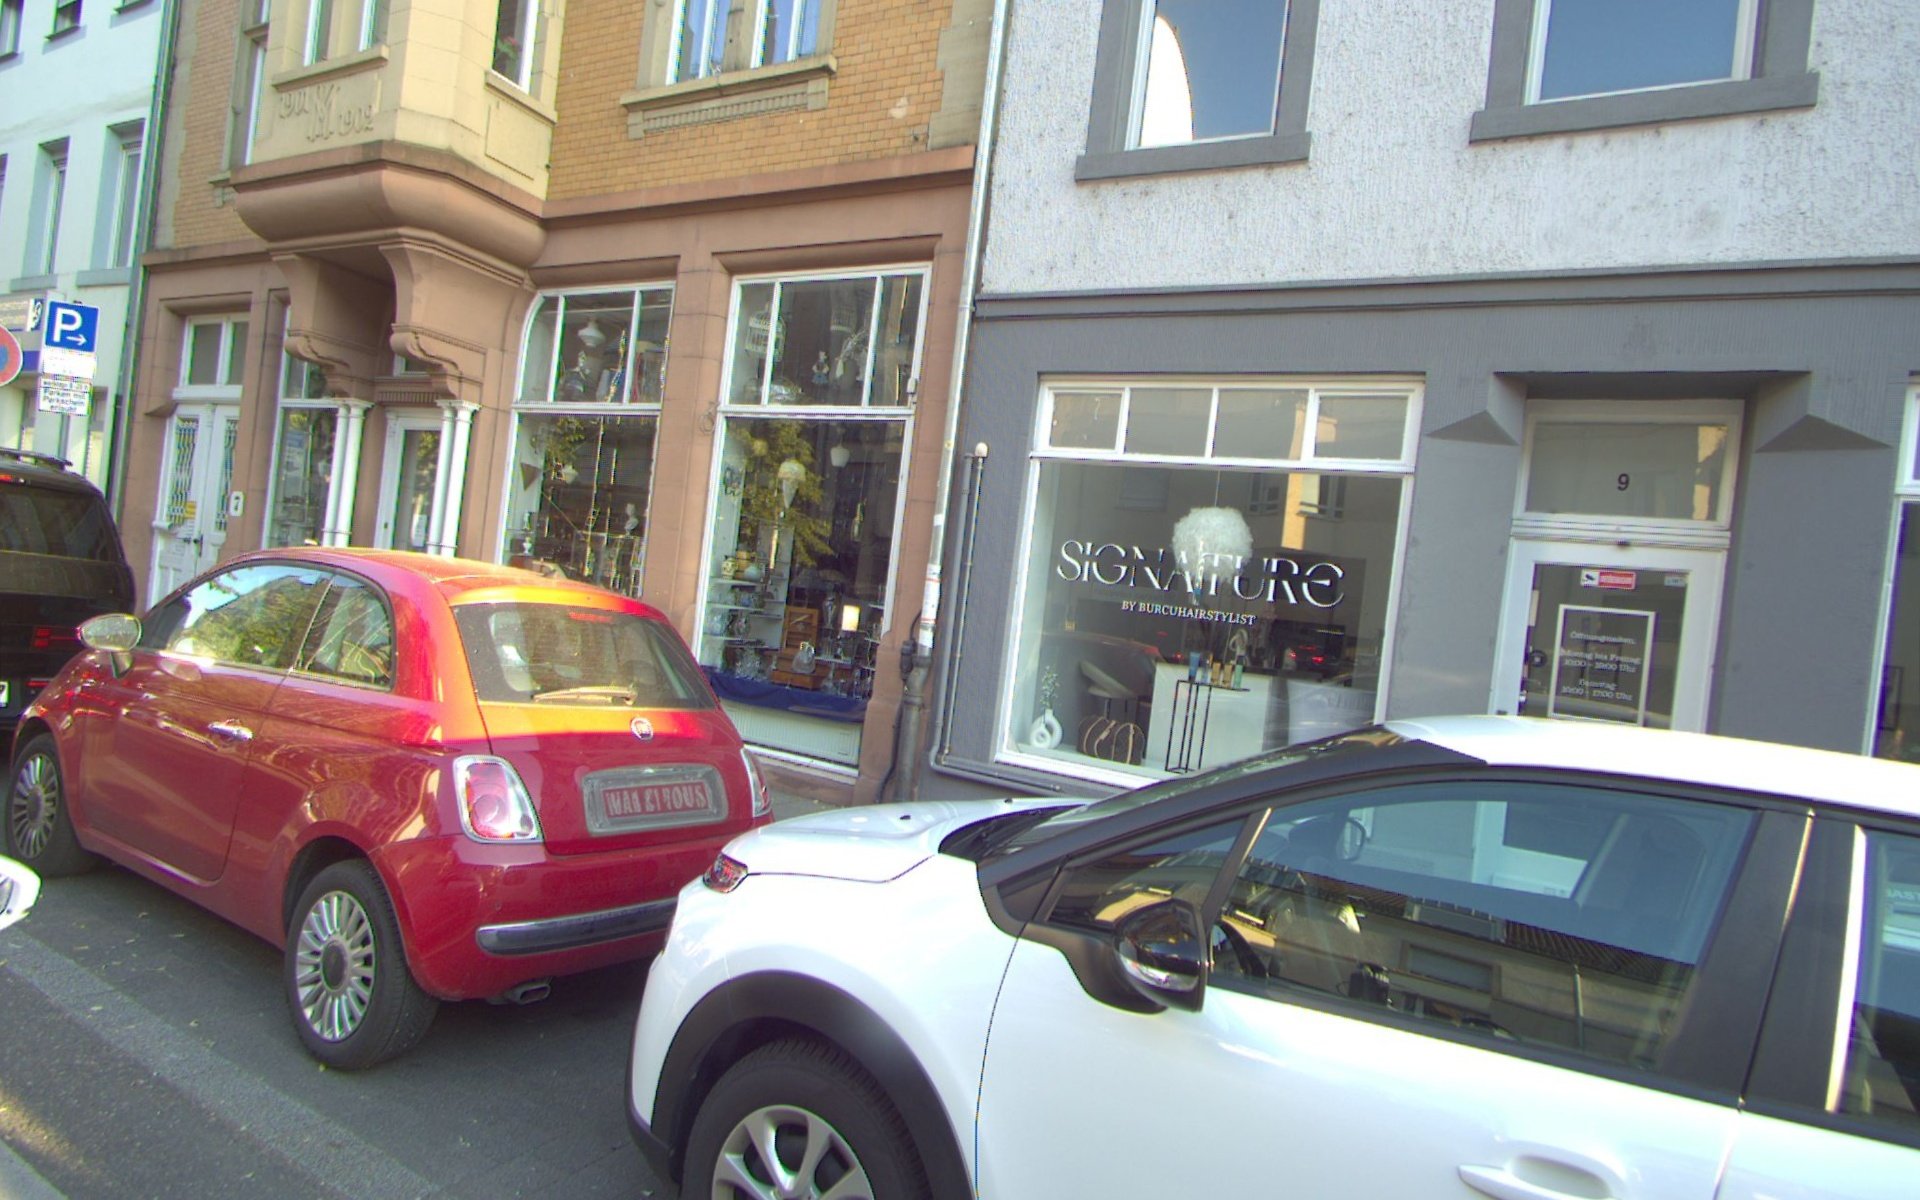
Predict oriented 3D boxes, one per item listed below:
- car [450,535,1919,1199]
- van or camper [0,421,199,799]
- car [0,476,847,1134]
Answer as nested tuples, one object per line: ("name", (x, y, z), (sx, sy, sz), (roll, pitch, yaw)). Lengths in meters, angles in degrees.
("car", (0.962, 0.905, 2.149), (3.868, 1.591, 1.666), (6, -2, 30))
("van or camper", (-6.695, -0.184, 5.595), (4.380, 1.829, 1.895), (7, -1, 24))
("car", (-2.351, 0.493, 4.112), (3.364, 1.588, 1.529), (7, -1, 30))
